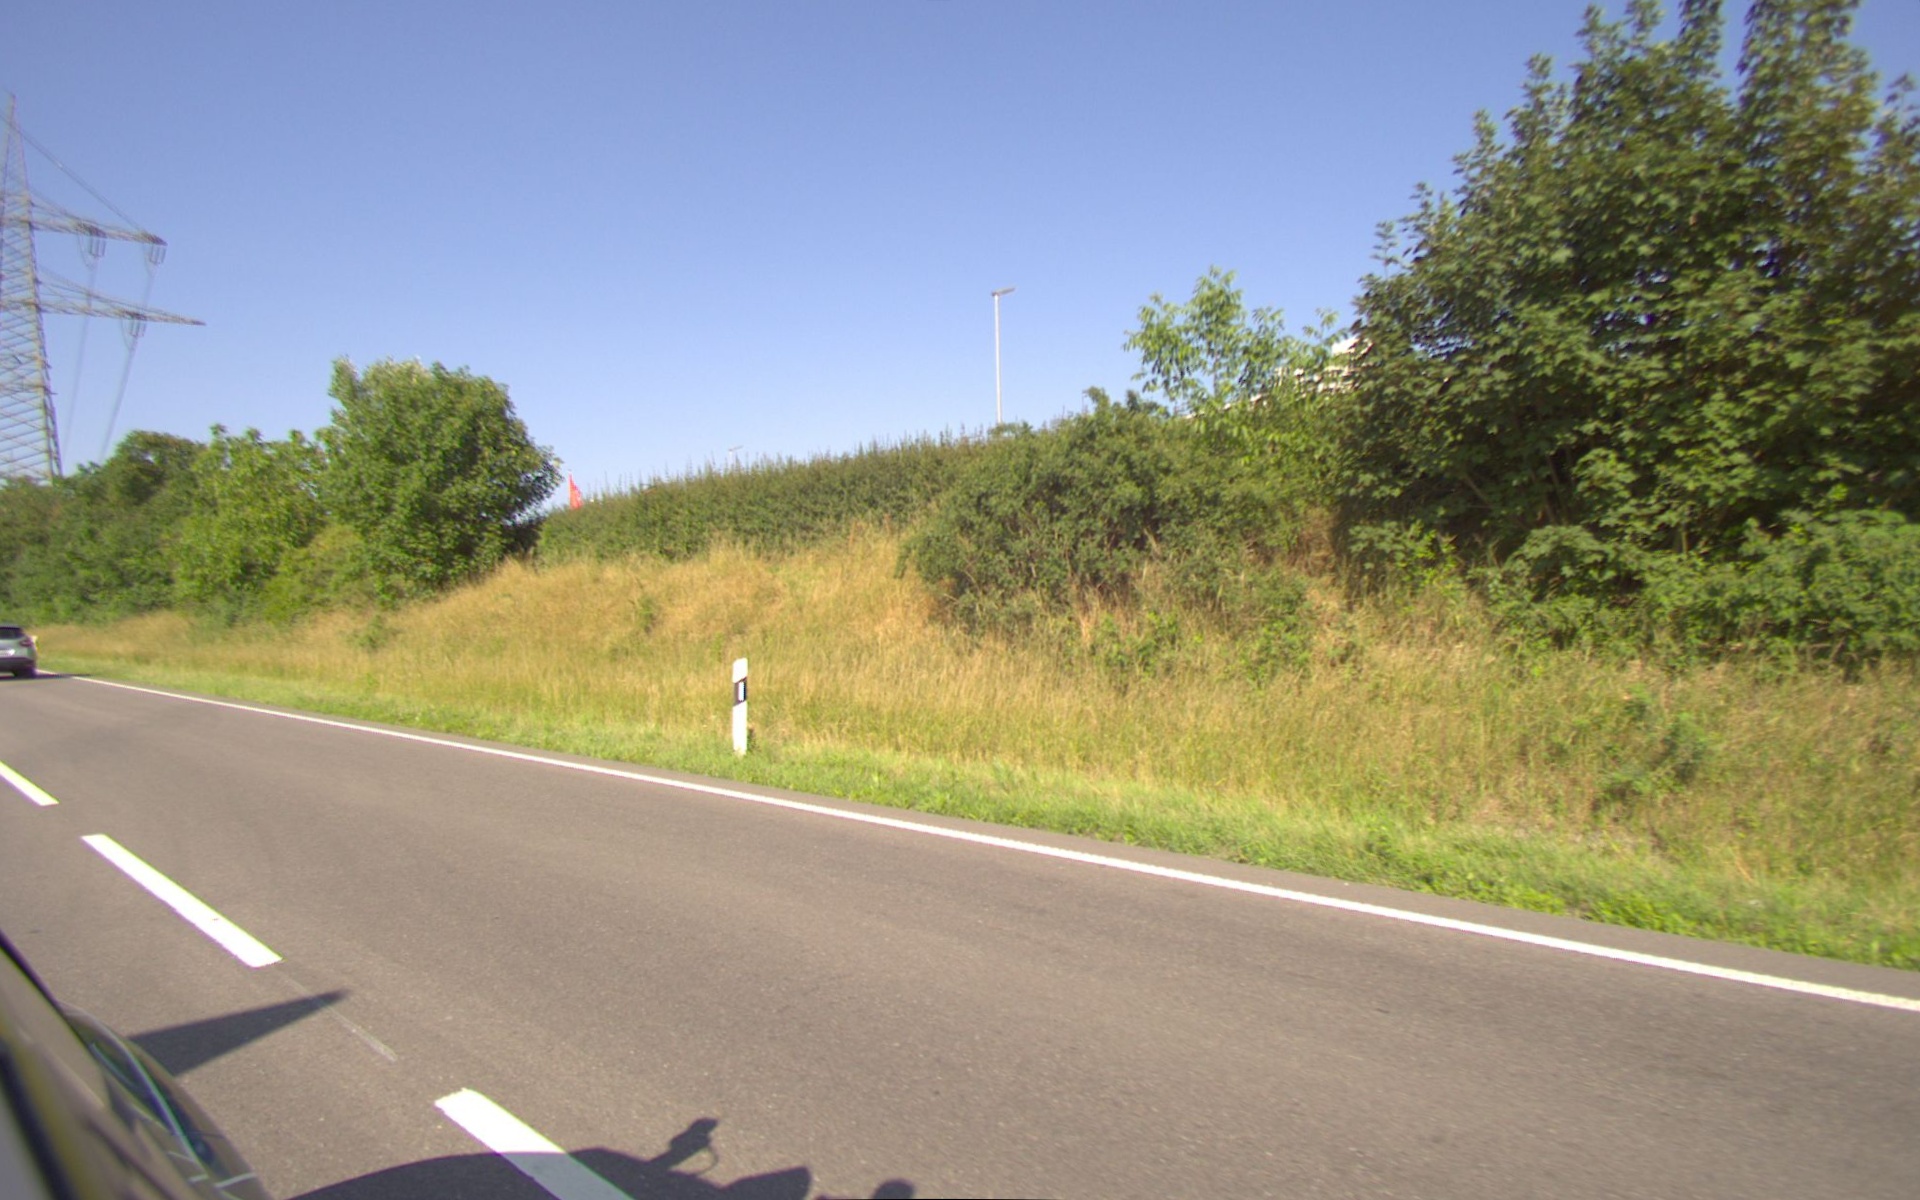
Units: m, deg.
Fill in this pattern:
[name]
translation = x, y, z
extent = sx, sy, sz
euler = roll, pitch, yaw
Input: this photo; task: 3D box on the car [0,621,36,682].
[car]
translation = -27.521, 1.425, 28.464
extent = 3.997, 1.605, 1.778
euler = -1, -1, 40
